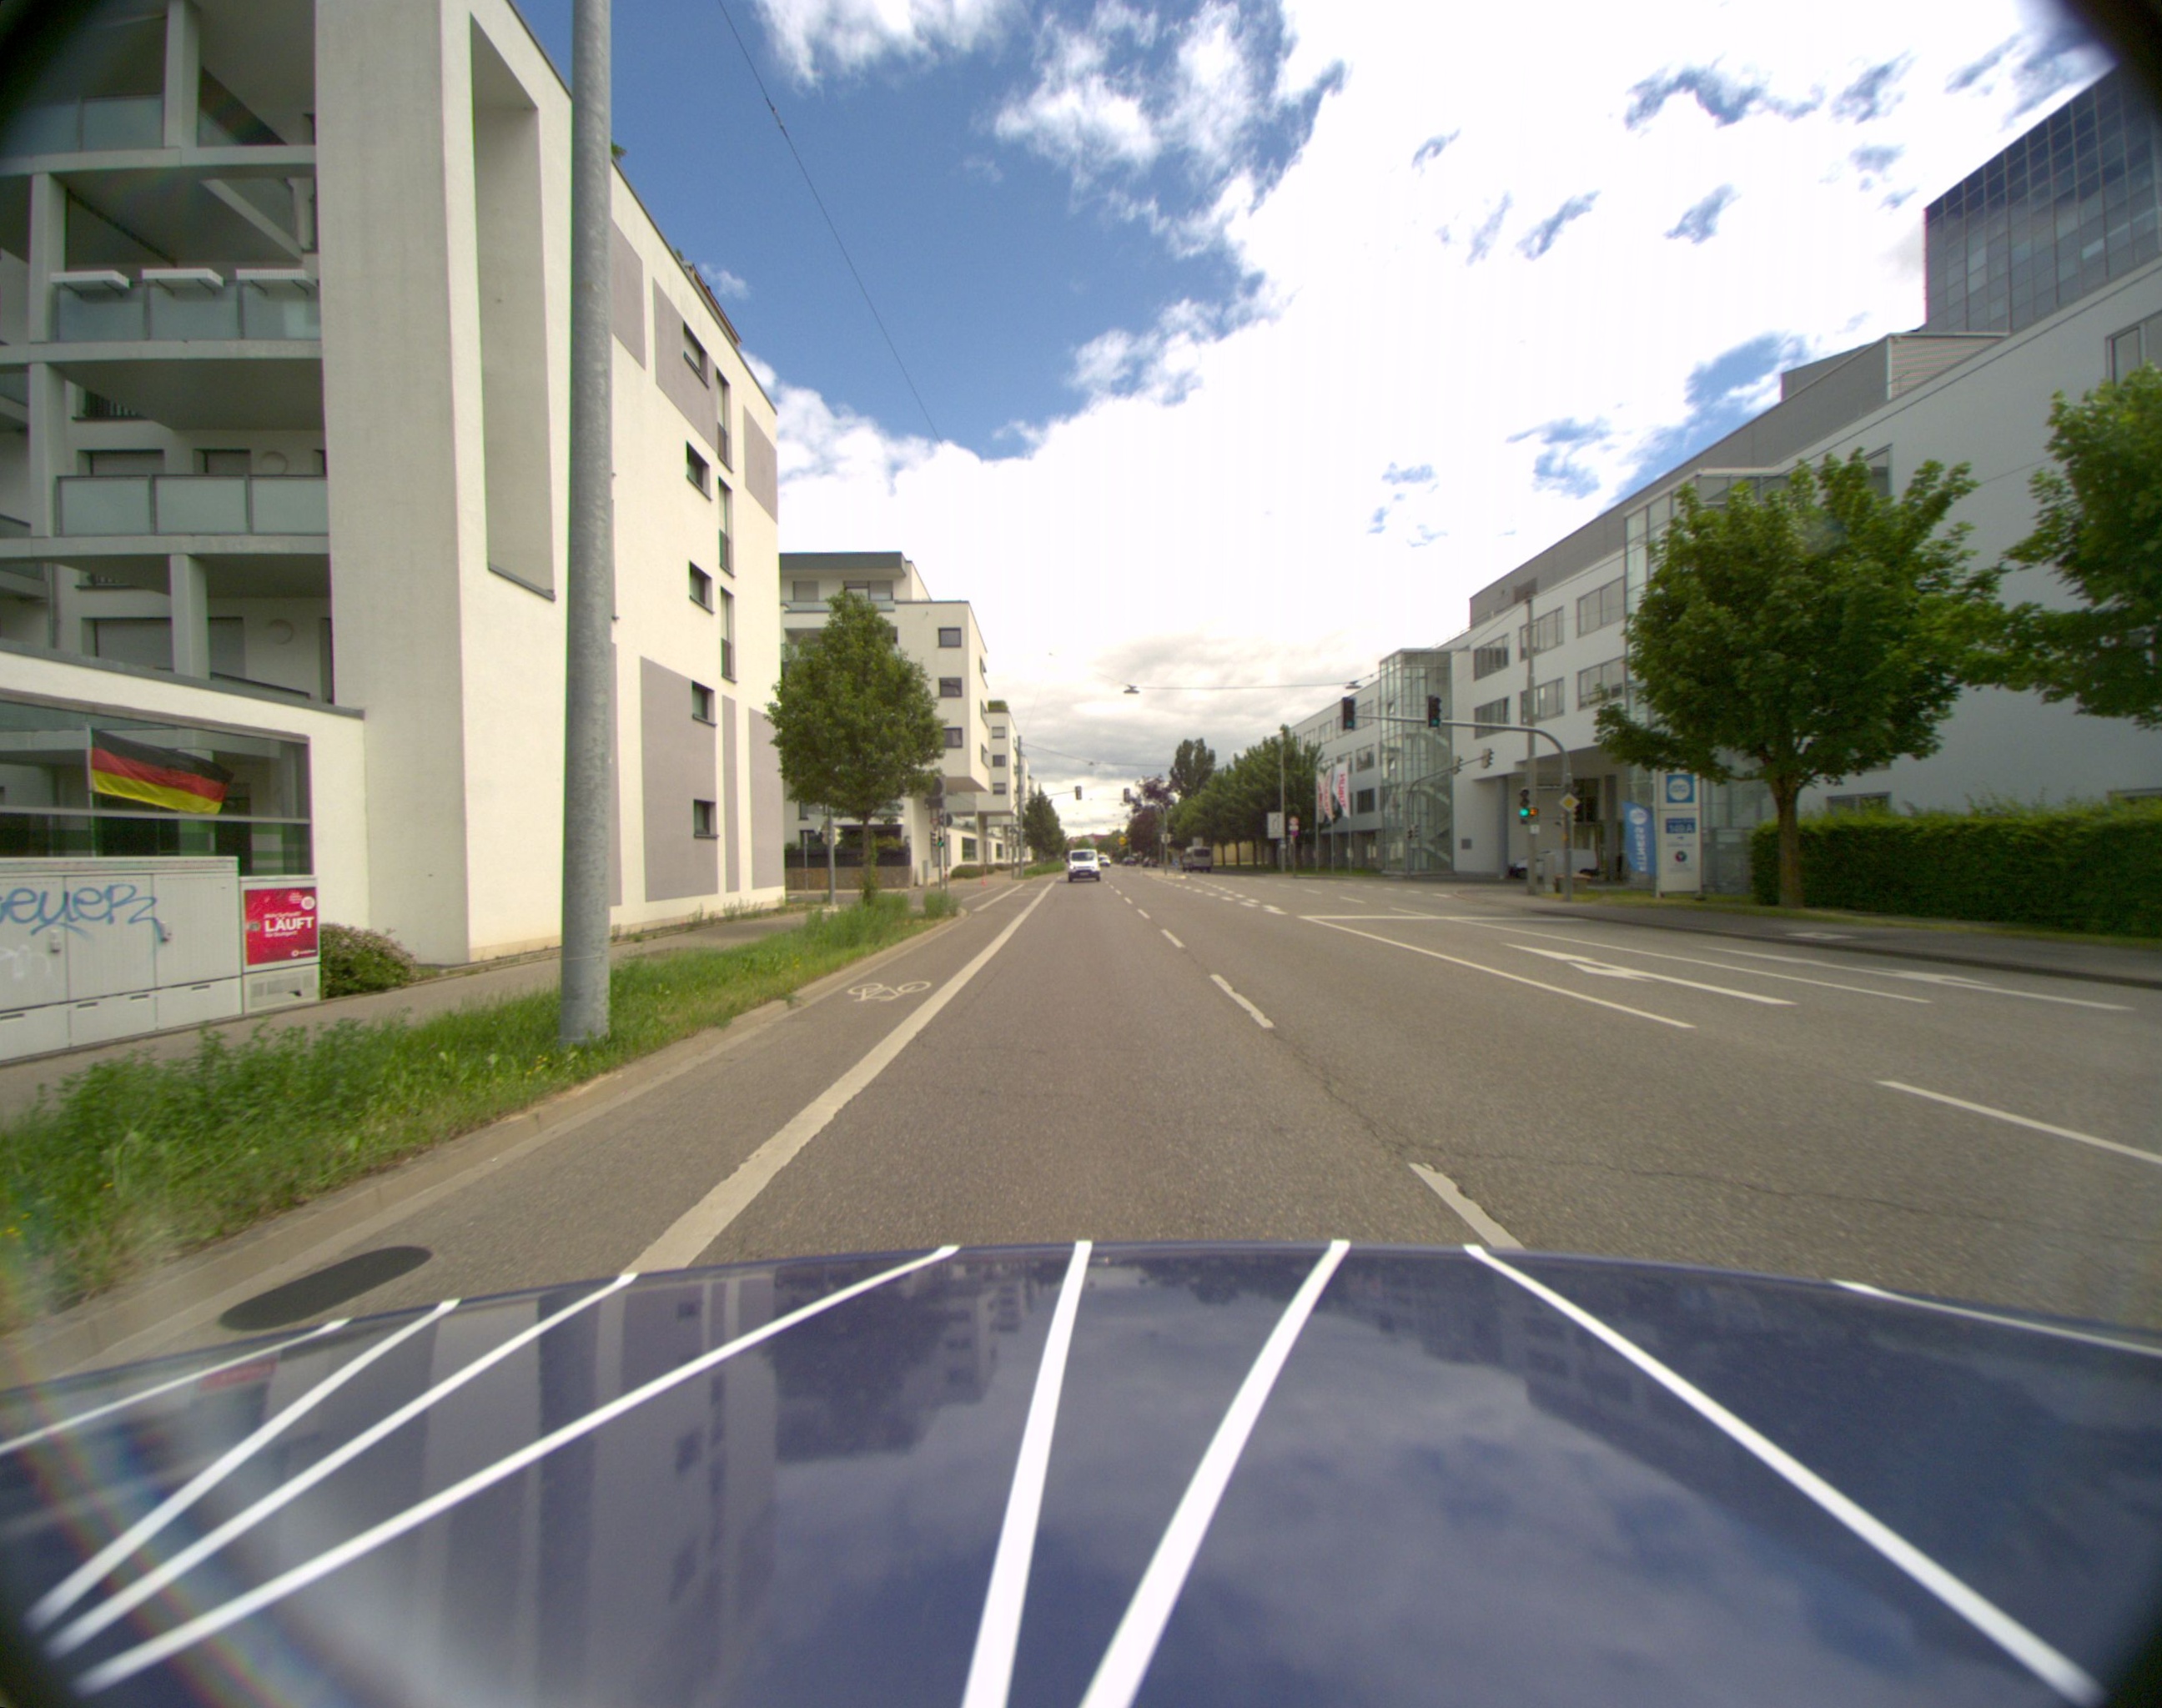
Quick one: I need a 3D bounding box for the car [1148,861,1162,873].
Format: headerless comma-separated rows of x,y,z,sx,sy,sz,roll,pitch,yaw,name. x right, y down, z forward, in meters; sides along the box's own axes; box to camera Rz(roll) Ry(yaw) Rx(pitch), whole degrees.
10.998,1.878,112.722,1.889,1.543,4.540,0,1,3,car

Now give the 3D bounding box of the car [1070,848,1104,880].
0.343,0.633,49.249,1.999,1.905,3.999,-2,1,-2,car

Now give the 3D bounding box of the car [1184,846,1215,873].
11.511,0.518,74.268,2.148,2.457,6.073,1,0,1,car

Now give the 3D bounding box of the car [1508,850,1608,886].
28.766,0.801,46.004,4.822,1.858,2.087,2,3,23,car

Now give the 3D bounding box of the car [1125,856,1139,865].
8.923,1.121,133.410,2.029,1.437,5.048,1,1,-2,car
